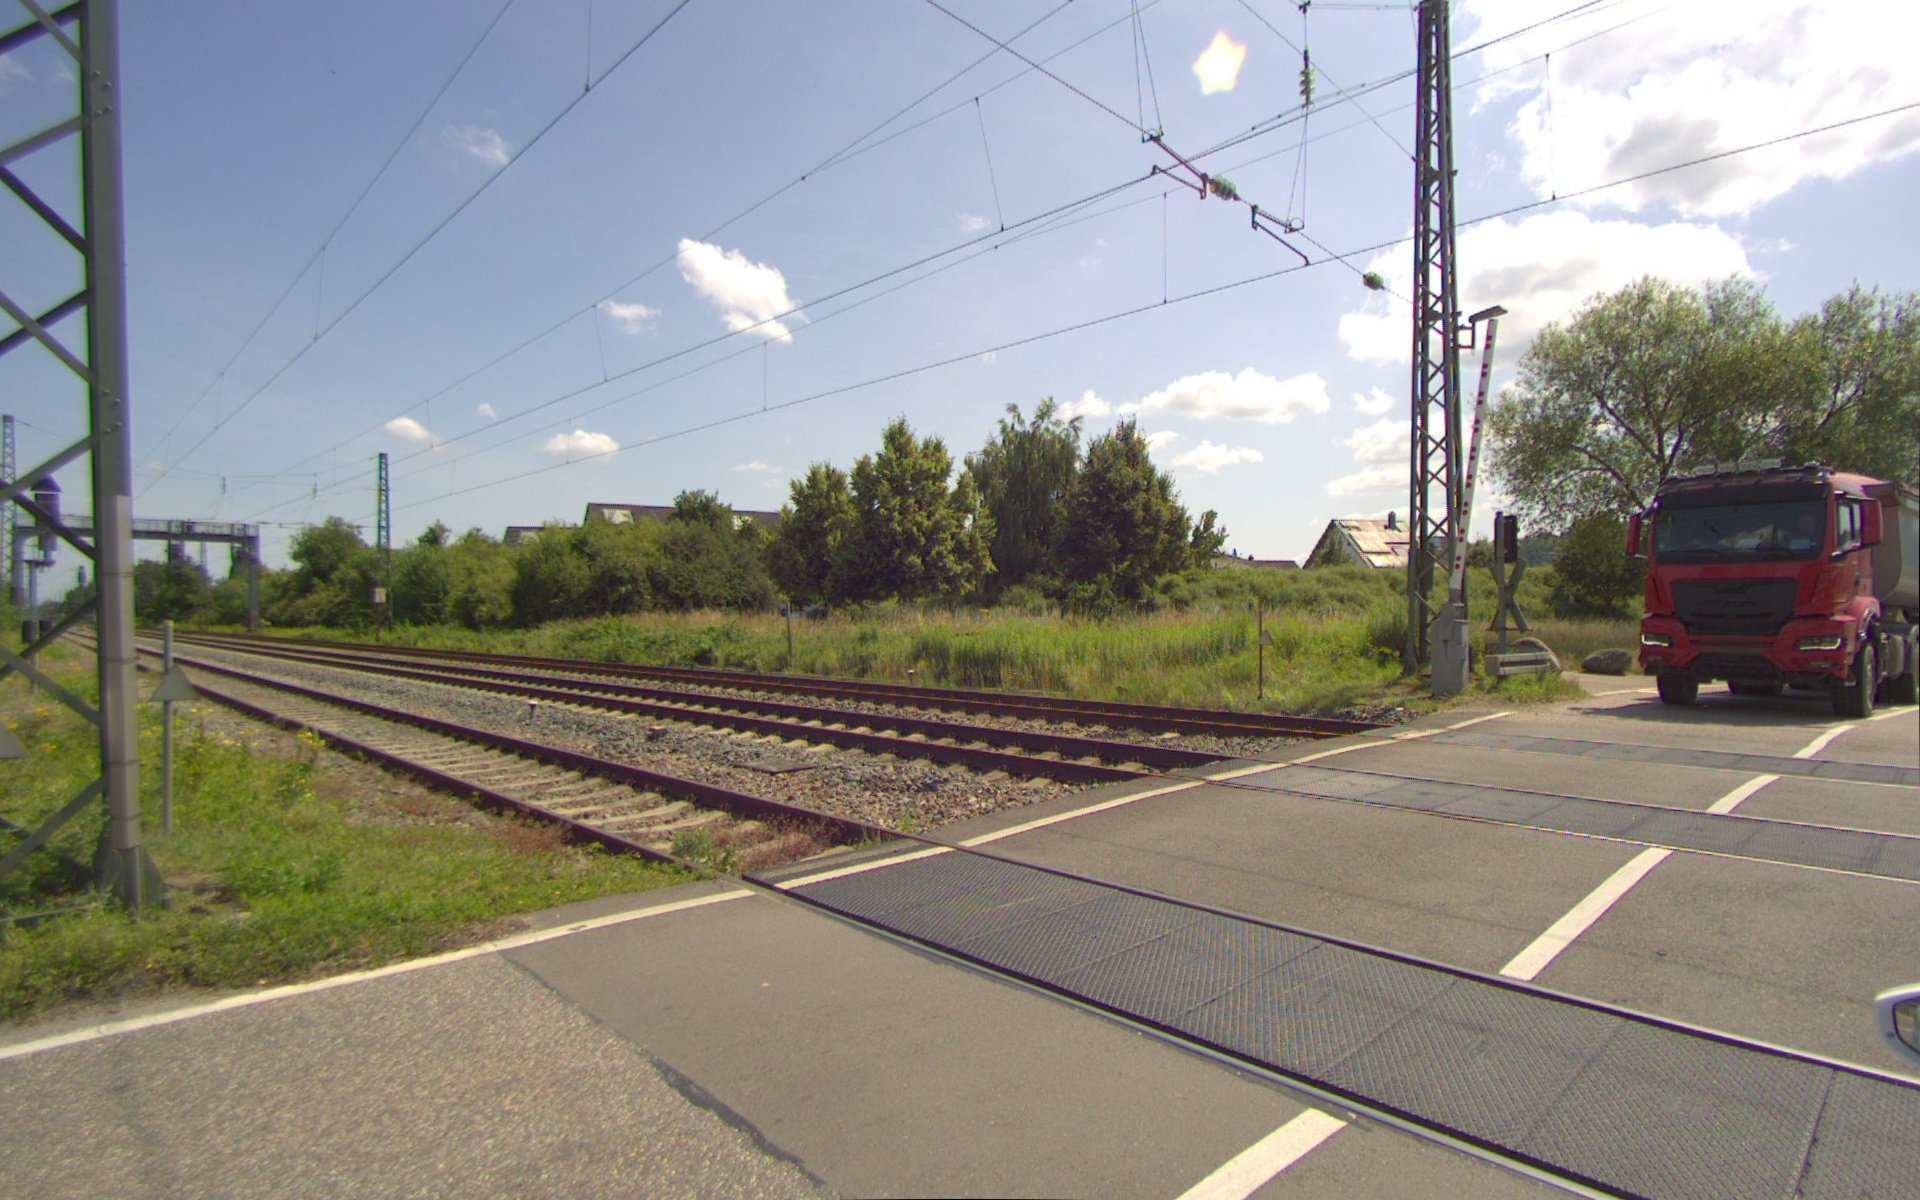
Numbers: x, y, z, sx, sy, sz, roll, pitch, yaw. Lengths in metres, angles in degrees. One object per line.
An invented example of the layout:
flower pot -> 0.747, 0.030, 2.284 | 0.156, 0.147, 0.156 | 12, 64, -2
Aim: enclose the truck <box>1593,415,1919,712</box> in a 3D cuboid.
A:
truck -> 15.259, -0.394, 17.541 | 12.030, 3.795, 2.852 | 1, 0, -36
